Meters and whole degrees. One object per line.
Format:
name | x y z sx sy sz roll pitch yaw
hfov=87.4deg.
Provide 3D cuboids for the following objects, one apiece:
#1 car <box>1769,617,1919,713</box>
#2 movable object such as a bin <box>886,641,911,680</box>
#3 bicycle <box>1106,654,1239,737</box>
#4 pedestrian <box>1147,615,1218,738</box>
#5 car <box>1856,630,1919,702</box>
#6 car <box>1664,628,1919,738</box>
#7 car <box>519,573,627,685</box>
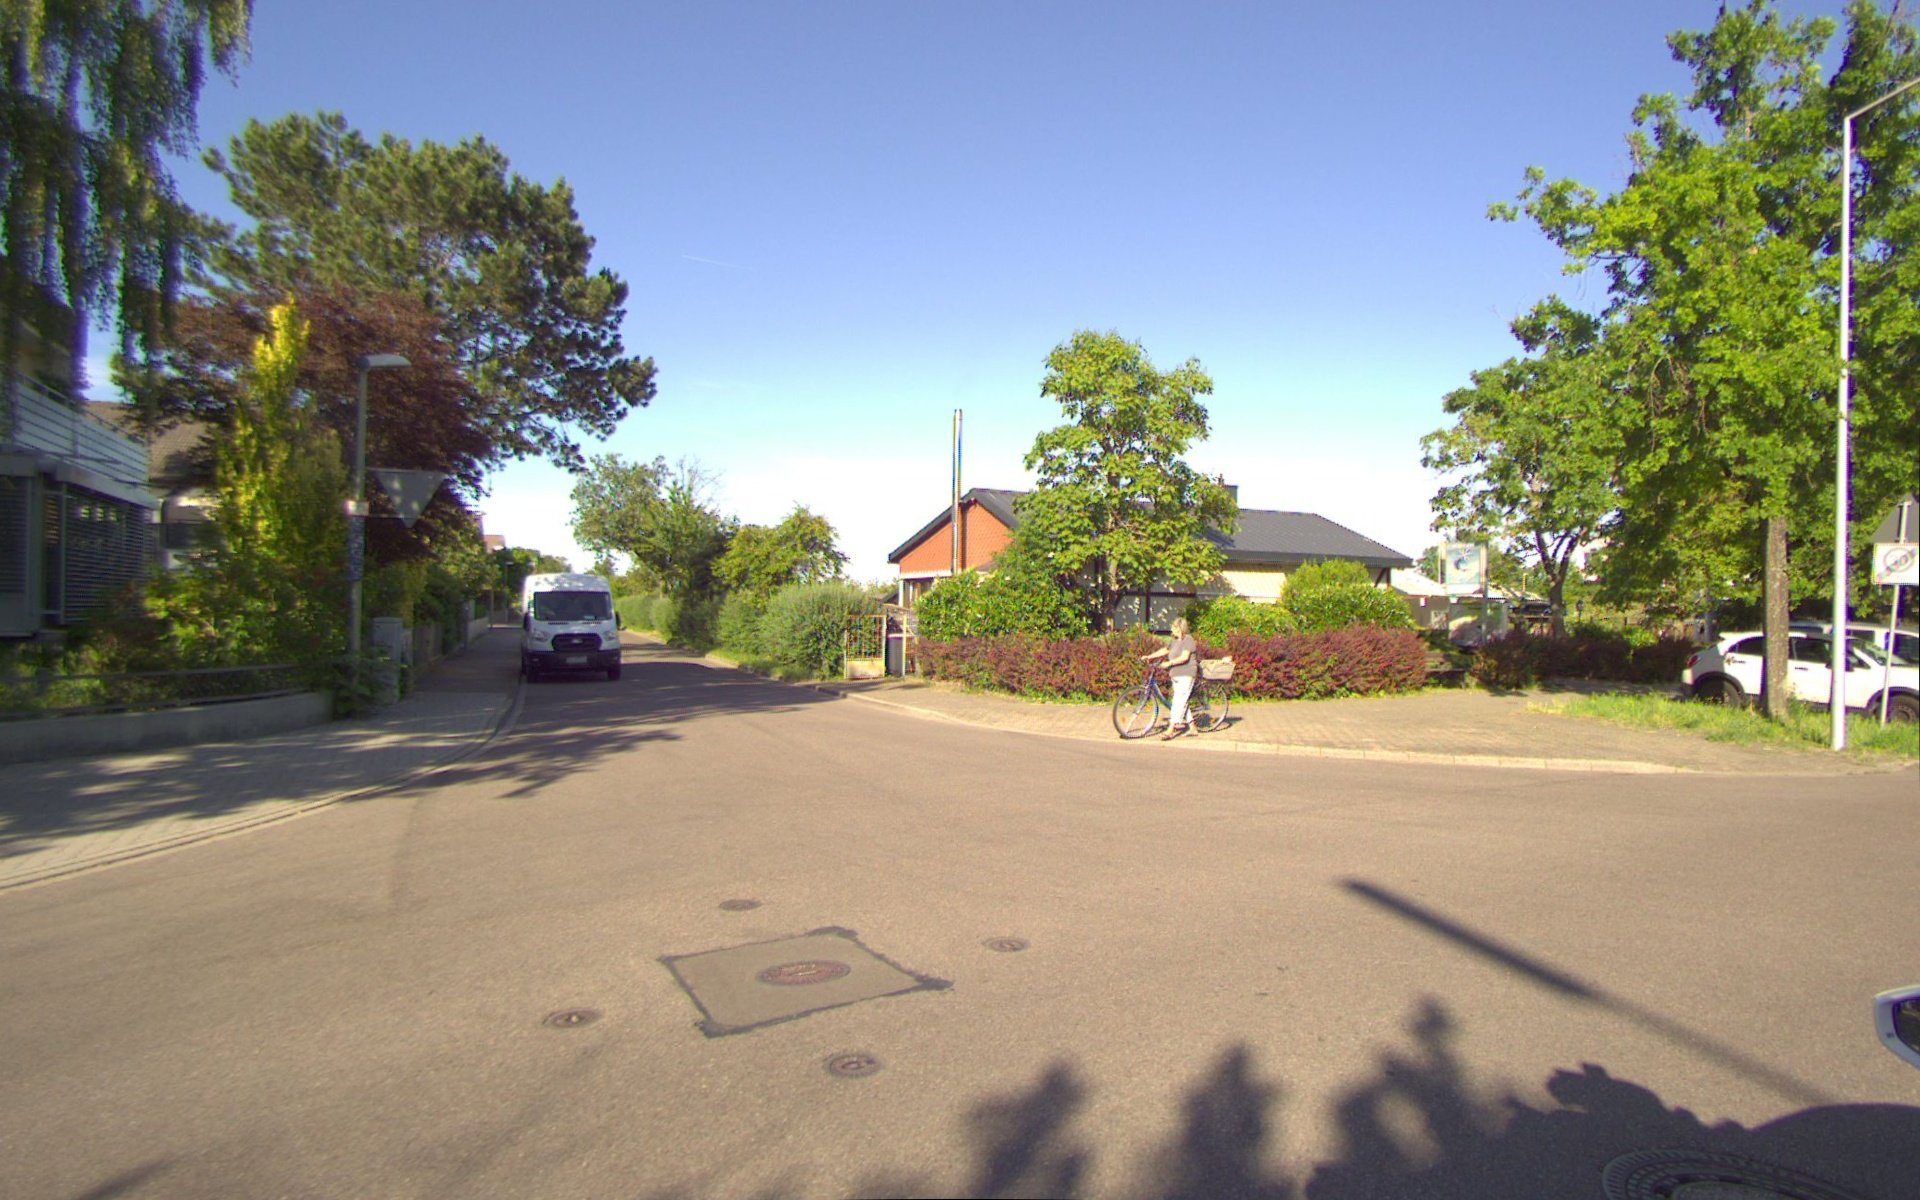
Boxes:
car | 19.547 1.318 20.772 1.875 1.864 3.996 1 -1 -31
movable object such as a bin | -1.556 1.530 25.303 0.492 0.949 0.612 1 0 -17
bicycle | 2.893 1.275 13.592 1.867 1.053 0.445 2 -1 -26
pedestrian | 2.946 1.002 13.312 0.791 1.577 0.439 2 -1 -28
car | 23.772 1.578 23.384 1.875 1.669 3.996 1 -1 -31
car | 15.193 1.379 17.678 1.875 1.644 4.221 2 -1 -31
car | -9.417 0.662 24.170 1.973 2.380 5.599 2 -1 -25
